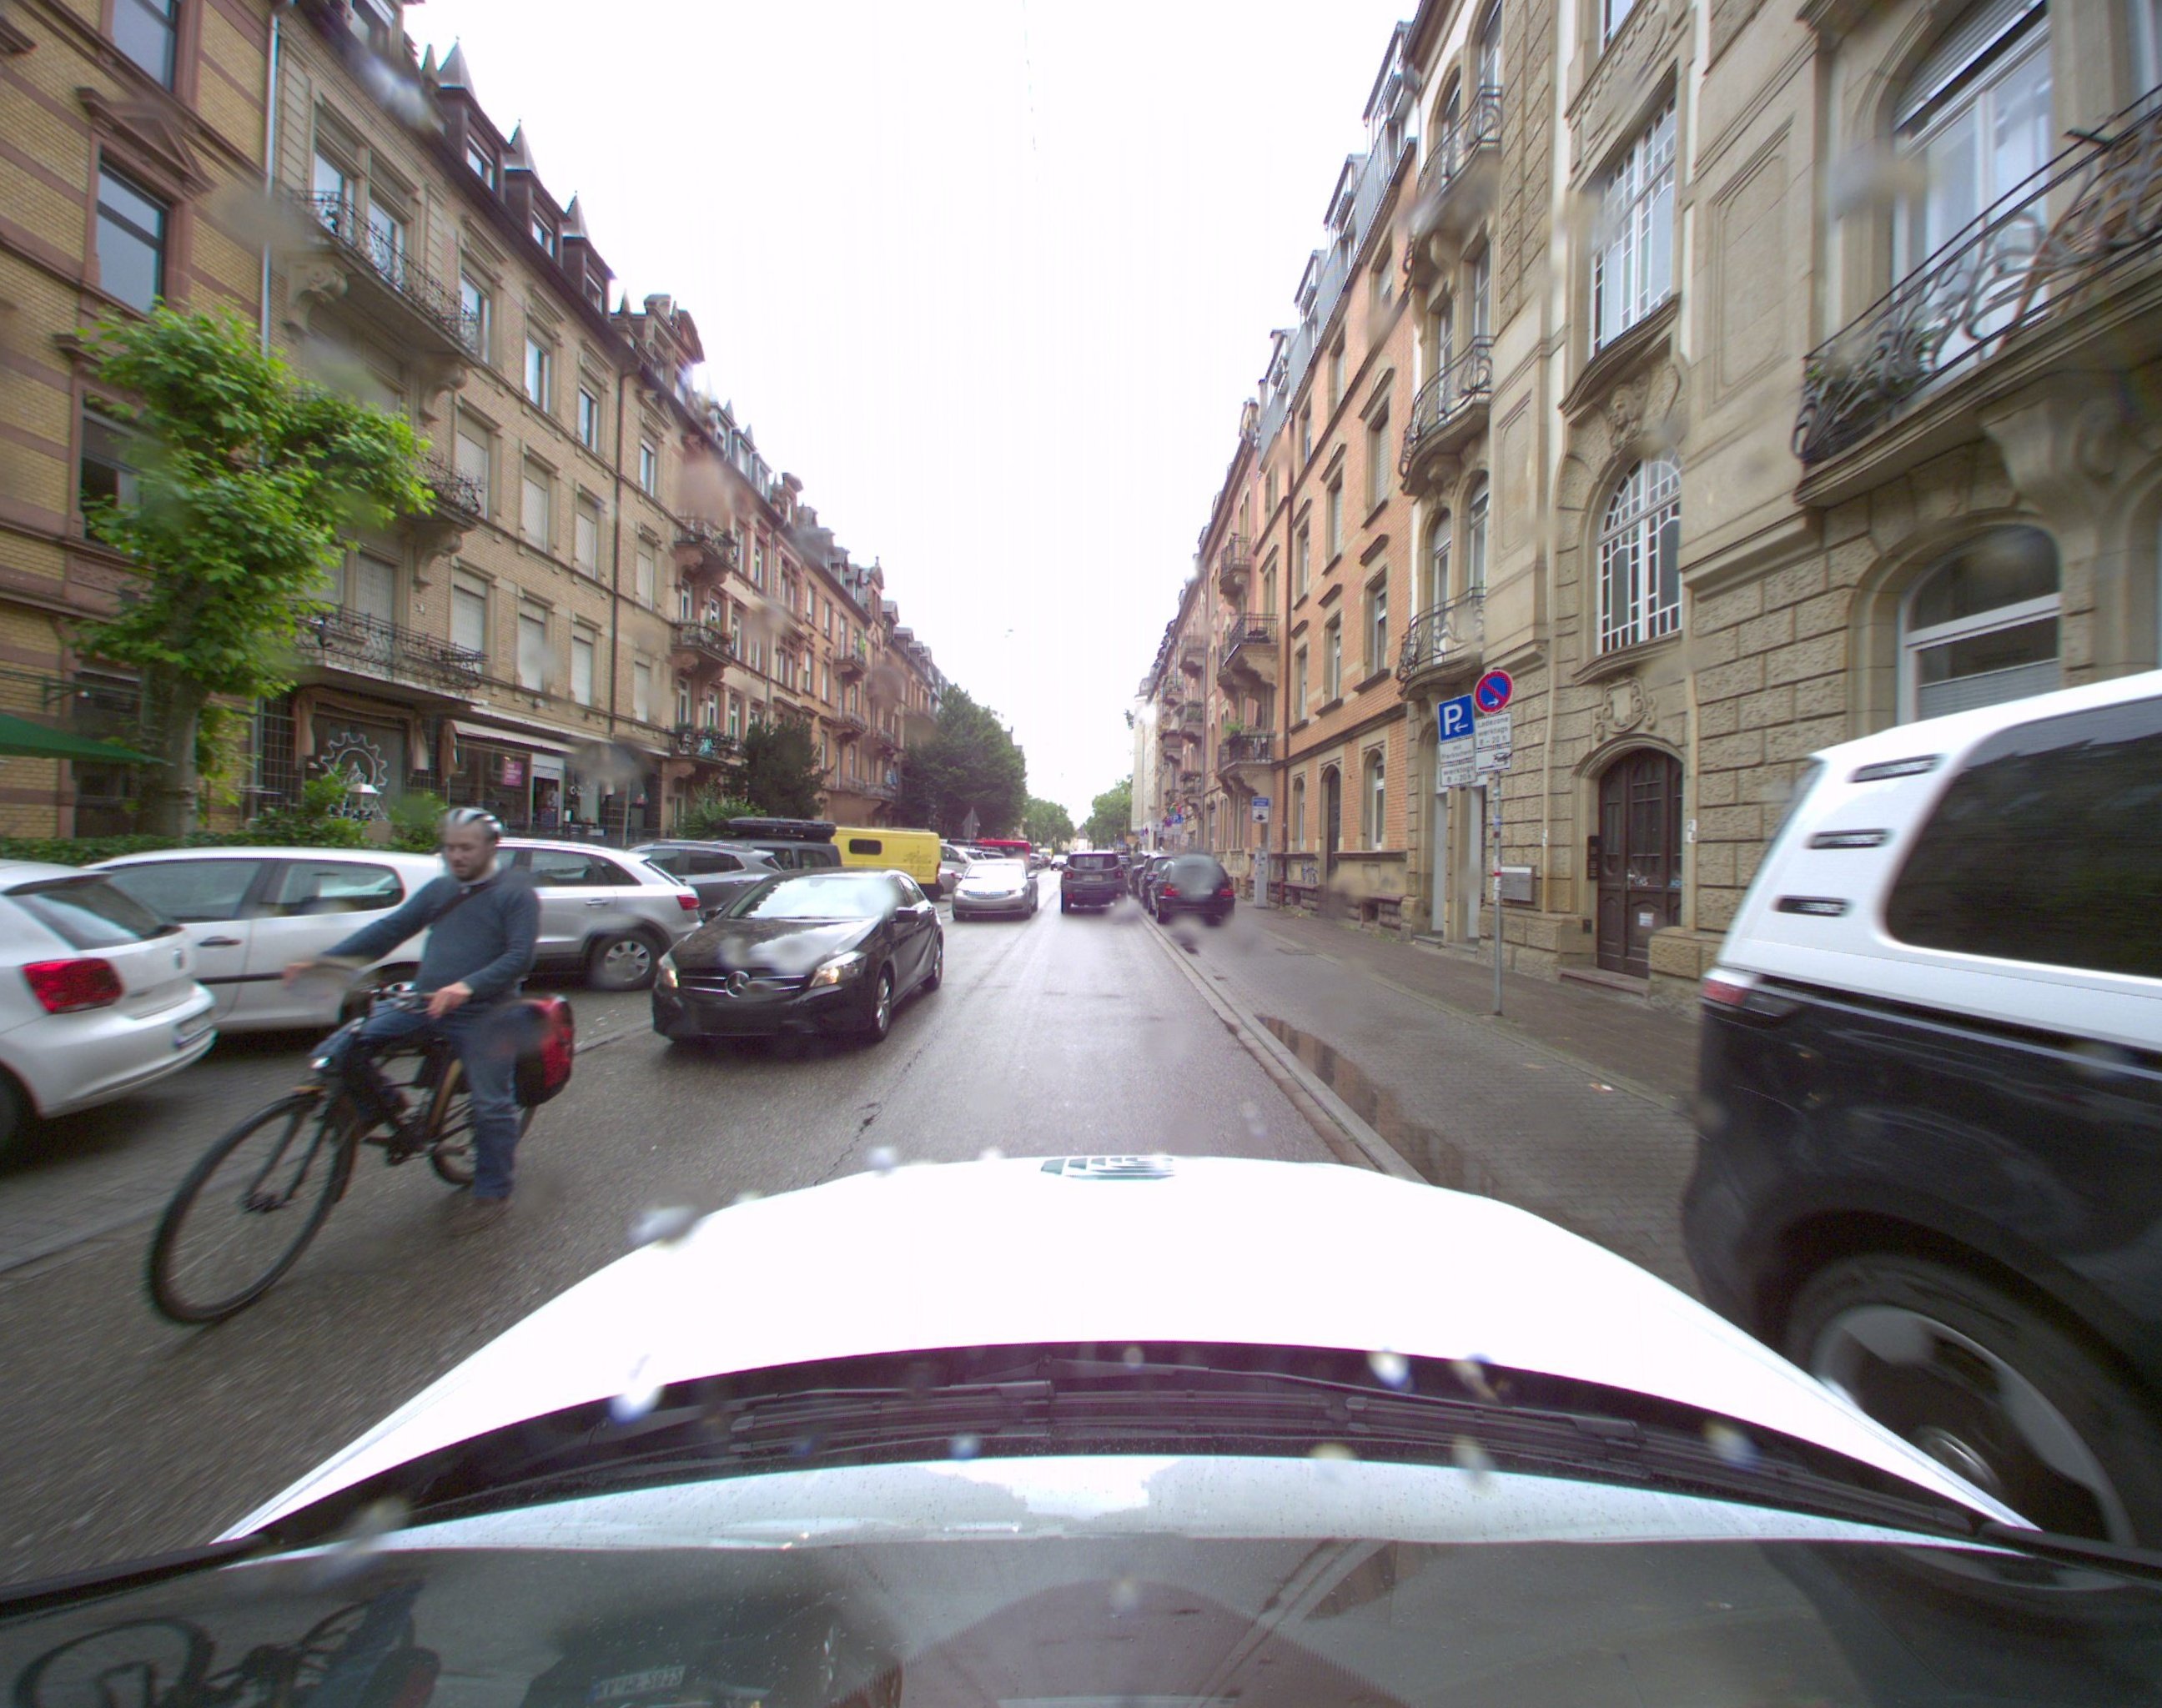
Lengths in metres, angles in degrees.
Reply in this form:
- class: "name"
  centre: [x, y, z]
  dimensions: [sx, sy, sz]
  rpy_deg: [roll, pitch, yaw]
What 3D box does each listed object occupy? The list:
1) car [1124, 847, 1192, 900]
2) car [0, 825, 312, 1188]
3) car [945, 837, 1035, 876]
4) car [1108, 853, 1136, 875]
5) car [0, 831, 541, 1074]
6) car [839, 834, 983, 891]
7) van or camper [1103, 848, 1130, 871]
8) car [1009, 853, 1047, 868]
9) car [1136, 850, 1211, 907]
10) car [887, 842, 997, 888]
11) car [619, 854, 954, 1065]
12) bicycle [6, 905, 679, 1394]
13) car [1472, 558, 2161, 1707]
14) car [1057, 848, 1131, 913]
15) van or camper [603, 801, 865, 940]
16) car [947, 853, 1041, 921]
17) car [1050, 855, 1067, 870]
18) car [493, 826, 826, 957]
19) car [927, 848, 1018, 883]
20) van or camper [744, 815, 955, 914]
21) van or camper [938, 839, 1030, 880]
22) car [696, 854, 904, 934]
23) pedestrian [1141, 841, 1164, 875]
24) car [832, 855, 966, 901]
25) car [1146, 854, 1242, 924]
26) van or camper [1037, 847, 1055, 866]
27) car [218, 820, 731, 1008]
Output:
- class: "car"
  centre: [2.734, 0.669, 29.945]
  dimensions: [1.987, 1.779, 4.824]
  rpy_deg: [0, 0, -1]
- class: "car"
  centre: [-6.786, 0.598, 3.484]
  dimensions: [4.743, 1.563, 1.979]
  rpy_deg: [3, 0, -34]
- class: "car"
  centre: [-6.084, 0.190, 54.735]
  dimensions: [5.586, 2.541, 2.209]
  rpy_deg: [1, 0, -28]
- class: "car"
  centre: [2.988, 0.705, 60.048]
  dimensions: [1.835, 1.545, 4.002]
  rpy_deg: [0, 0, -1]
- class: "car"
  centre: [-6.614, 0.646, 6.115]
  dimensions: [4.155, 1.494, 1.782]
  rpy_deg: [4, -3, -35]
- class: "car"
  centre: [-6.674, 0.358, 32.071]
  dimensions: [5.260, 2.078, 1.855]
  rpy_deg: [1, -1, -25]
- class: "van or camper"
  centre: [2.982, 0.448, 69.488]
  dimensions: [2.015, 1.891, 5.054]
  rpy_deg: [-1, 0, 0]
- class: "car"
  centre: [-5.567, 0.677, 85.486]
  dimensions: [3.730, 1.452, 1.667]
  rpy_deg: [0, 0, -35]
- class: "car"
  centre: [2.725, 0.685, 24.818]
  dimensions: [1.865, 1.561, 4.346]
  rpy_deg: [-1, 0, 1]
- class: "car"
  centre: [-6.372, 0.493, 37.806]
  dimensions: [4.565, 1.785, 2.545]
  rpy_deg: [3, 0, -1]
- class: "car"
  centre: [-2.486, 0.778, 8.063]
  dimensions: [1.790, 1.494, 4.137]
  rpy_deg: [-1, 0, 0]
- class: "bicycle"
  centre: [-2.620, 0.897, 3.416]
  dimensions: [0.768, 1.180, 2.268]
  rpy_deg: [0, 1, -1]
- class: "car"
  centre: [2.598, 0.523, 0.543]
  dimensions: [1.988, 1.939, 5.225]
  rpy_deg: [-1, 0, -2]
- class: "car"
  centre: [0.313, 0.684, 23.293]
  dimensions: [1.893, 1.671, 4.504]
  rpy_deg: [0, 0, -1]
- class: "van or camper"
  centre: [-6.352, 0.385, 15.022]
  dimensions: [4.098, 2.240, 1.917]
  rpy_deg: [4, -3, -32]
- class: "car"
  centre: [-2.136, 0.755, 21.200]
  dimensions: [1.788, 1.493, 4.586]
  rpy_deg: [0, 1, 2]
- class: "car"
  centre: [-2.377, 0.847, 85.485]
  dimensions: [1.665, 1.559, 4.000]
  rpy_deg: [0, 0, -2]
- class: "car"
  centre: [-6.252, 0.590, 12.301]
  dimensions: [4.155, 1.662, 1.781]
  rpy_deg: [4, -3, -36]
- class: "car"
  centre: [-5.855, 0.612, 44.034]
  dimensions: [4.453, 1.630, 1.829]
  rpy_deg: [3, 0, -26]
- class: "van or camper"
  centre: [-5.928, 0.302, 21.042]
  dimensions: [4.743, 2.268, 2.163]
  rpy_deg: [3, 0, -33]
- class: "van or camper"
  centre: [-5.866, 0.353, 49.458]
  dimensions: [5.035, 2.349, 2.325]
  rpy_deg: [1, 0, -26]
- class: "car"
  centre: [-6.108, 0.781, 17.810]
  dimensions: [4.014, 1.495, 1.809]
  rpy_deg: [-1, 1, -32]
- class: "pedestrian"
  centre: [4.437, 0.249, 50.548]
  dimensions: [0.672, 1.938, 0.813]
  rpy_deg: [-1, -29, 35]
- class: "car"
  centre: [-6.012, 0.776, 26.986]
  dimensions: [4.010, 1.436, 1.768]
  rpy_deg: [1, -1, -29]
- class: "car"
  centre: [2.587, 0.742, 19.590]
  dimensions: [1.780, 1.466, 4.485]
  rpy_deg: [1, 0, 1]
- class: "van or camper"
  centre: [-5.215, 0.351, 122.153]
  dimensions: [2.114, 2.531, 6.873]
  rpy_deg: [-3, -2, 0]
- class: "car"
  centre: [-6.393, 0.634, 9.138]
  dimensions: [4.155, 1.662, 1.781]
  rpy_deg: [4, -2, -36]
